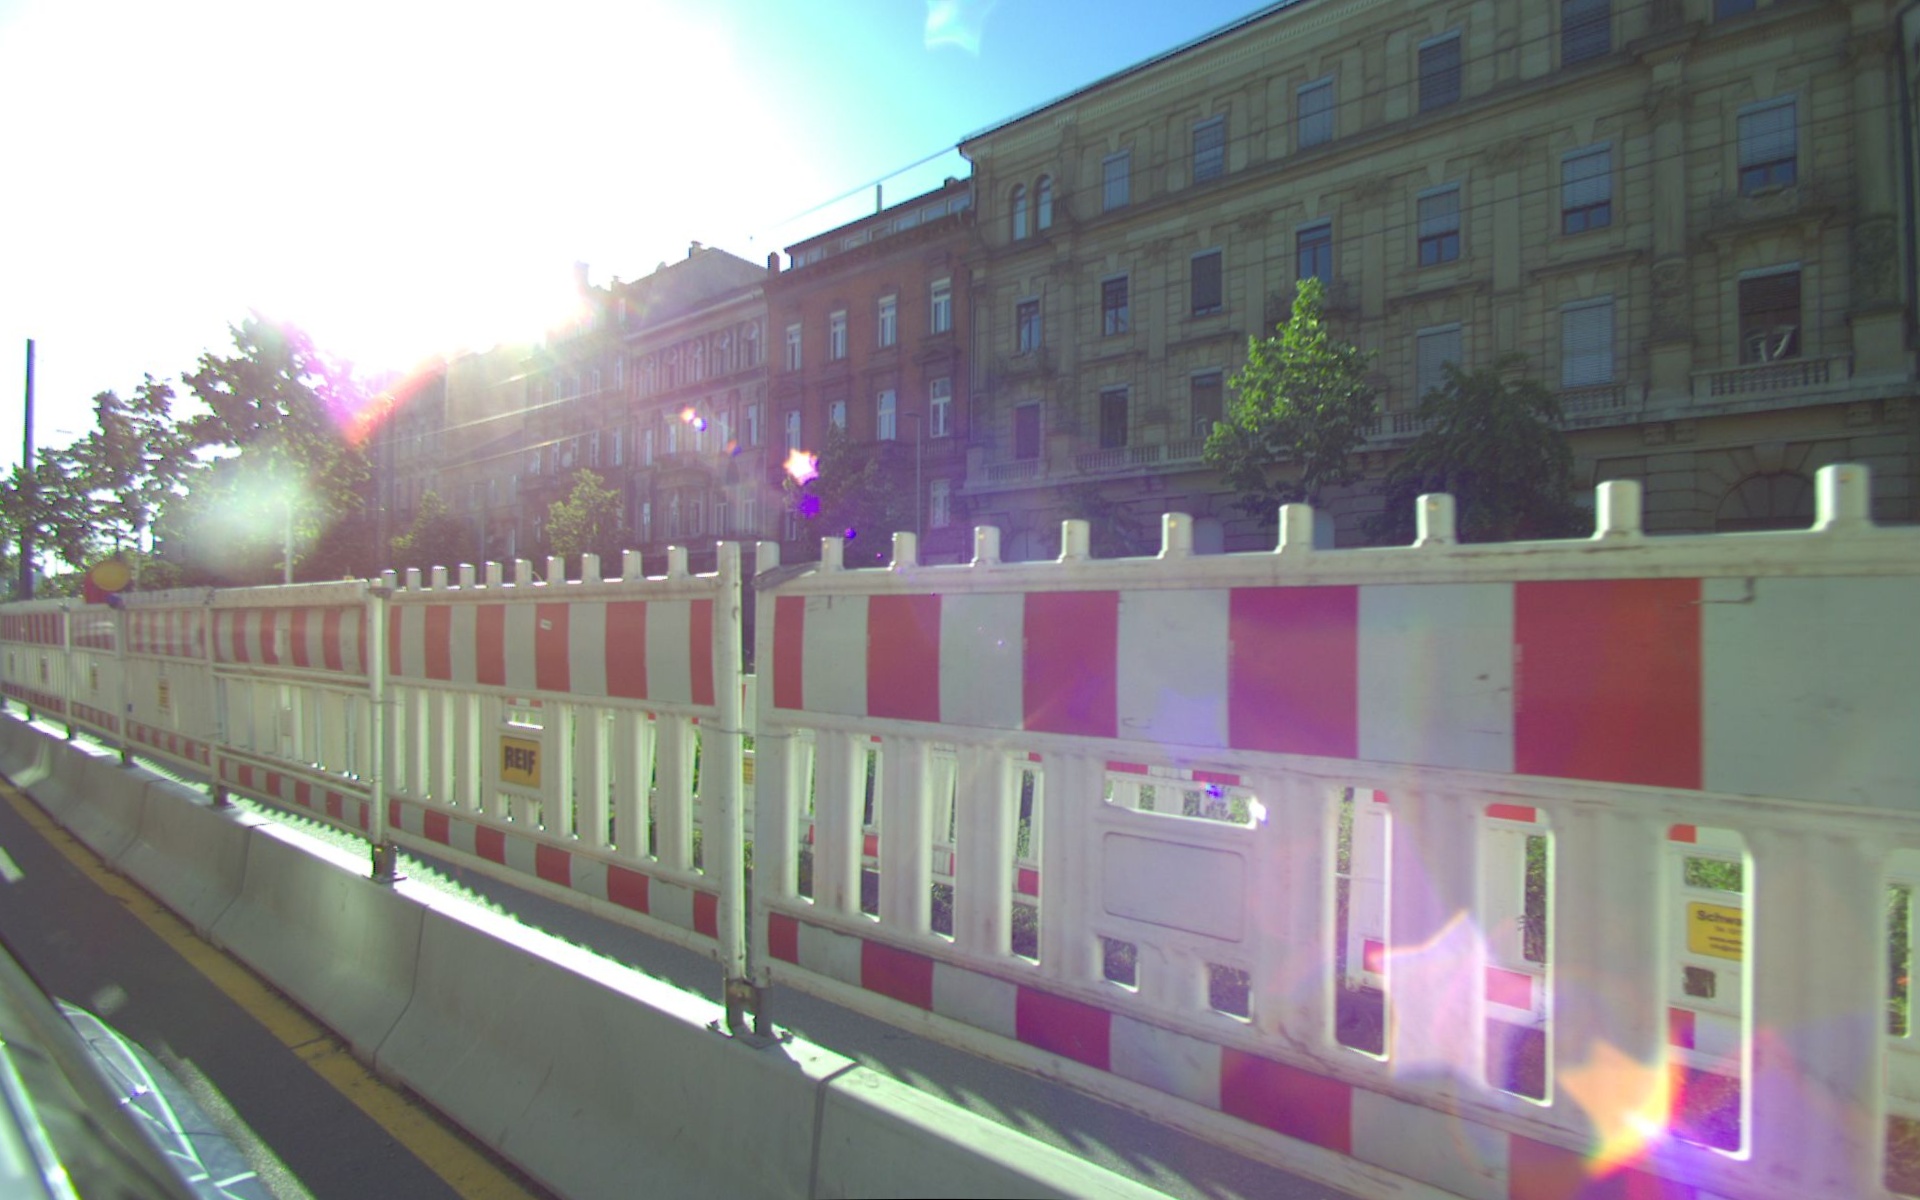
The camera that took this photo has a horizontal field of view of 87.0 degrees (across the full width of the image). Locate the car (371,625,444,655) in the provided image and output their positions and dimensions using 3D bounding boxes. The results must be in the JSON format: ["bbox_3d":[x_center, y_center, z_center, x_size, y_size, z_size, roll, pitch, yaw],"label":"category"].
[{"bbox_3d":[-28.993,2.092,53.070,4.305,1.449,1.973,-2,-1,40],"label":"car"}]

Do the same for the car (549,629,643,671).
[{"bbox_3d":[-15.673,2.095,43.418,4.544,1.671,1.917,-2,-1,43],"label":"car"}]

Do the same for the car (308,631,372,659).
[{"bbox_3d":[-37.892,2.730,61.800,4.982,1.549,1.973,-2,-1,41],"label":"car"}]

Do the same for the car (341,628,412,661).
[{"bbox_3d":[-33.232,2.501,57.605,4.884,1.710,1.973,-2,-1,40],"label":"car"}]
